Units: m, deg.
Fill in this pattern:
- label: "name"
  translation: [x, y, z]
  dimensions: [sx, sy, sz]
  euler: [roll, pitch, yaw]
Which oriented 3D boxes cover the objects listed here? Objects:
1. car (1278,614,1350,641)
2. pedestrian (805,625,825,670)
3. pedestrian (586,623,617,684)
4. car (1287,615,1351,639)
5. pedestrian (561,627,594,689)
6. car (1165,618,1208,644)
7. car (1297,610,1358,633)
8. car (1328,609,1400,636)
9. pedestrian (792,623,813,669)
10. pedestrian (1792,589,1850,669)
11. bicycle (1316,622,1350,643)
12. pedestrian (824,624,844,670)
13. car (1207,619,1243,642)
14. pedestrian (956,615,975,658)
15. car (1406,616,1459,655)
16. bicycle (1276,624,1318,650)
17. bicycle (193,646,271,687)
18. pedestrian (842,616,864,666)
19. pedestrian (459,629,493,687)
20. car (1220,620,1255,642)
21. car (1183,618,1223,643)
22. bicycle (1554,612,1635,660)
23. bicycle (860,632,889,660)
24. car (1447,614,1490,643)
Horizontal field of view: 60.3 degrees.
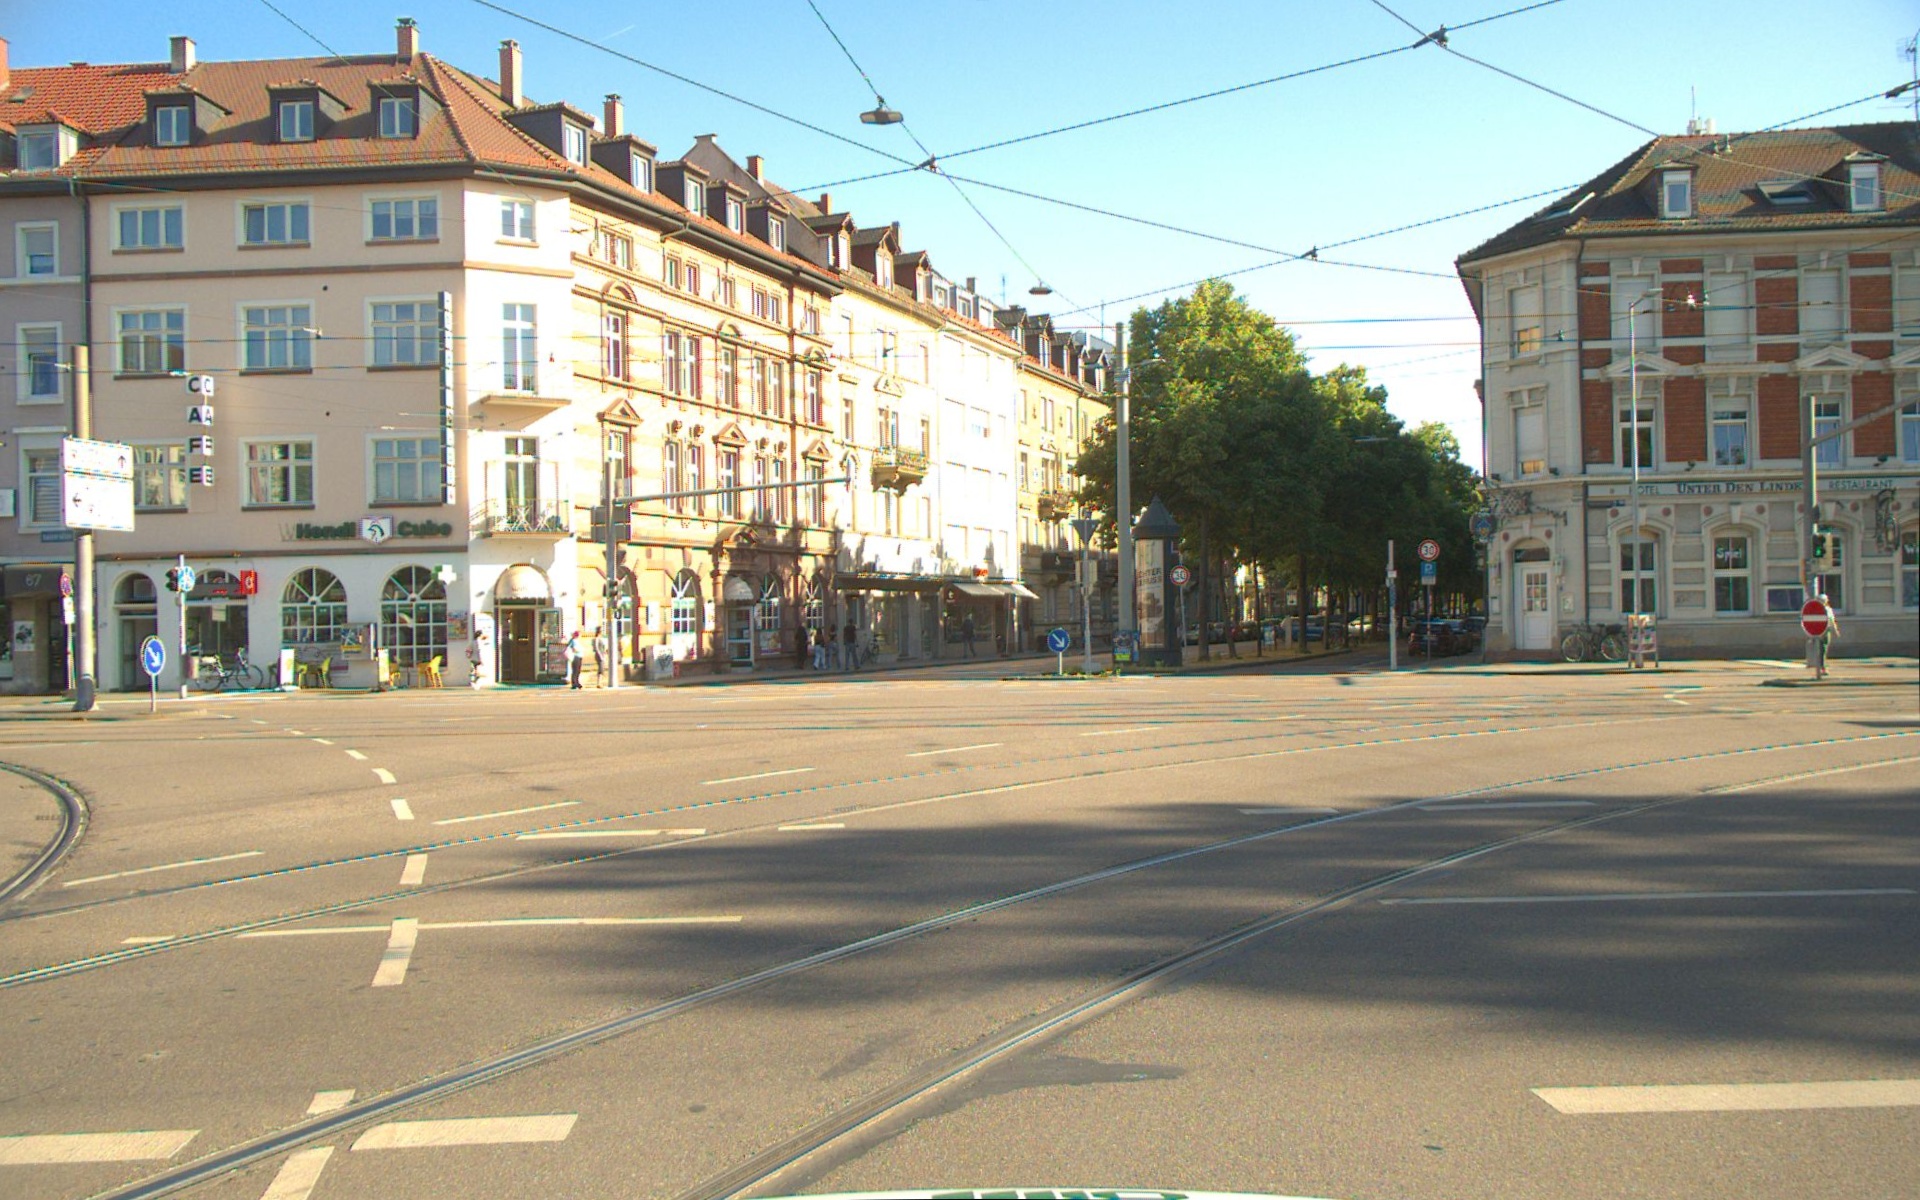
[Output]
- label: "car"
  translation: [21.946, 1.690, 102.487]
  dimensions: [3.916, 1.572, 1.995]
  euler: [-2, -1, 33]
- label: "pedestrian"
  translation: [-5.370, 1.754, 61.160]
  dimensions: [0.539, 1.670, 0.538]
  euler: [-1, -1, 17]
- label: "pedestrian"
  translation: [-10.076, 1.504, 46.482]
  dimensions: [0.617, 1.670, 0.552]
  euler: [-1, -1, 18]
- label: "car"
  translation: [24.936, 1.872, 114.995]
  dimensions: [3.916, 1.572, 1.995]
  euler: [-2, -1, 33]
- label: "pedestrian"
  translation: [-10.409, 1.581, 45.017]
  dimensions: [0.661, 1.670, 0.578]
  euler: [-1, -1, 18]
- label: "car"
  translation: [14.374, 1.954, 104.841]
  dimensions: [1.952, 1.523, 4.035]
  euler: [-1, 0, 19]
- label: "car"
  translation: [26.877, 1.544, 120.998]
  dimensions: [3.916, 1.572, 1.995]
  euler: [-2, -1, 33]
- label: "car"
  translation: [25.204, 1.402, 103.248]
  dimensions: [3.919, 1.572, 1.993]
  euler: [-2, -1, 36]
- label: "pedestrian"
  translation: [-5.837, 1.701, 61.317]
  dimensions: [0.614, 1.670, 0.538]
  euler: [-1, -1, 17]
- label: "pedestrian"
  translation: [18.616, 0.625, 35.768]
  dimensions: [0.701, 1.699, 0.939]
  euler: [-1, -1, -3]
- label: "bicycle"
  translation: [19.444, 1.683, 86.267]
  dimensions: [0.576, 1.086, 1.928]
  euler: [-1, -1, -31]
- label: "pedestrian"
  translation: [-4.687, 1.754, 61.489]
  dimensions: [0.539, 1.670, 0.633]
  euler: [-1, -1, 18]
- label: "car"
  translation: [19.078, 2.202, 118.997]
  dimensions: [1.952, 1.523, 4.035]
  euler: [-1, 0, 19]
- label: "pedestrian"
  translation: [0.254, 1.661, 75.987]
  dimensions: [0.668, 1.942, 0.633]
  euler: [-1, -1, 20]
- label: "car"
  translation: [19.841, 1.460, 69.342]
  dimensions: [1.952, 1.523, 4.035]
  euler: [-1, 0, 19]
- label: "bicycle"
  translation: [14.287, 1.579, 70.122]
  dimensions: [0.576, 1.086, 1.928]
  euler: [-1, -1, -31]
- label: "bicycle"
  translation: [-20.482, 1.874, 46.563]
  dimensions: [1.904, 1.086, 0.583]
  euler: [-1, -1, -3]
- label: "pedestrian"
  translation: [-3.988, 1.524, 61.737]
  dimensions: [0.567, 1.868, 0.633]
  euler: [-1, -1, 20]
- label: "pedestrian"
  translation: [-13.192, 1.567, 45.064]
  dimensions: [0.644, 1.551, 0.696]
  euler: [-1, -1, 7]
- label: "car"
  translation: [20.739, 2.317, 123.575]
  dimensions: [1.952, 1.523, 4.035]
  euler: [-1, 0, 19]
- label: "car"
  translation: [16.184, 2.005, 109.953]
  dimensions: [1.952, 1.523, 4.035]
  euler: [-1, 0, 19]
- label: "bicycle"
  translation: [16.967, 0.960, 44.245]
  dimensions: [1.919, 1.211, 0.547]
  euler: [-1, -1, 9]
- label: "bicycle"
  translation: [-3.531, 1.907, 68.307]
  dimensions: [0.485, 1.086, 1.770]
  euler: [-1, 0, 21]
- label: "car"
  translation: [28.860, 1.601, 93.844]
  dimensions: [1.953, 1.523, 4.033]
  euler: [-1, 0, 22]
